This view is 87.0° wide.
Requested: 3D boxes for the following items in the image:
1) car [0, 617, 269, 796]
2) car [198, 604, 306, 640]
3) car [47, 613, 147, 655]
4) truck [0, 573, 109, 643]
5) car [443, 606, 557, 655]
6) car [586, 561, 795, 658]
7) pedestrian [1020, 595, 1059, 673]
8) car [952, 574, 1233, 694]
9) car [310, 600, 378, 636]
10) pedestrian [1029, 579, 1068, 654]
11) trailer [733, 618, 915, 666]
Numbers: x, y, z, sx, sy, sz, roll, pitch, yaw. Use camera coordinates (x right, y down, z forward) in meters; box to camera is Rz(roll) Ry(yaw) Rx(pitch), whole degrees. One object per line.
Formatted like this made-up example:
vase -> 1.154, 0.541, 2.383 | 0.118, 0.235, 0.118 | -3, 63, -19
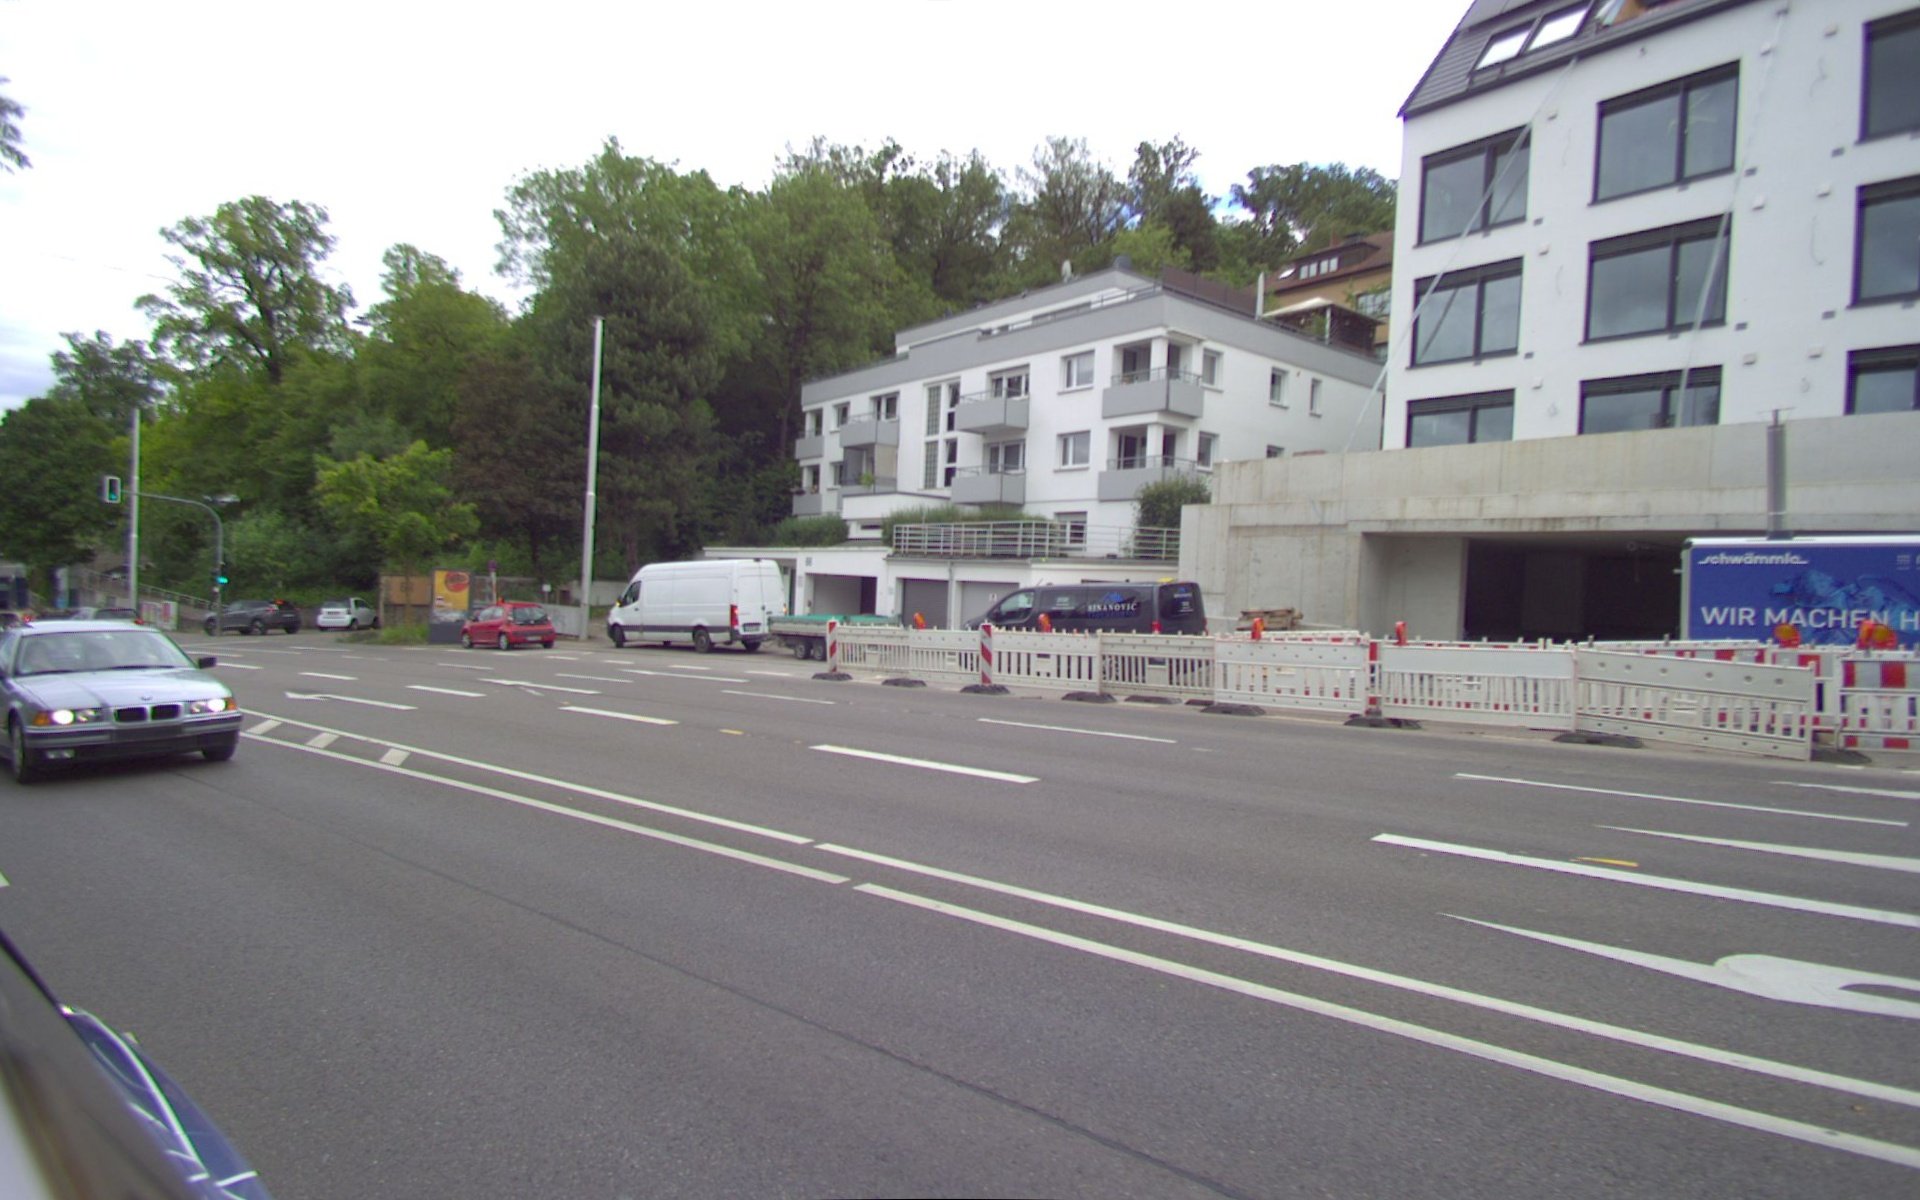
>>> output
car -> -8.888, 0.897, 10.323 | 4.608, 1.404, 1.736 | -1, 0, 38
car -> -31.193, 0.969, 44.609 | 4.092, 1.551, 1.592 | -1, -1, 13
car -> -31.368, 1.197, 36.757 | 4.275, 1.404, 1.827 | -1, -1, 36
truck -> -43.449, 0.388, 47.041 | 8.938, 2.993, 2.942 | -1, 0, 29
car -> -14.715, 0.955, 32.311 | 3.918, 1.476, 1.607 | -1, -1, 36
car -> -8.253, 0.303, 30.423 | 7.415, 2.587, 2.209 | -1, -1, 40
pedestrian -> 1.722, 0.722, 21.984 | 0.661, 1.652, 0.677 | -2, 1, -9
car -> 2.375, 0.596, 19.370 | 5.220, 1.982, 1.960 | -1, -1, 45
car -> -29.302, 0.846, 48.199 | 1.542, 1.531, 2.711 | 0, 3, 0
pedestrian -> 1.993, 0.360, 22.879 | 0.617, 1.652, 0.674 | -2, 1, -20
trailer -> -3.631, 1.046, 26.566 | 4.618, 1.120, 2.224 | -1, -1, 40
